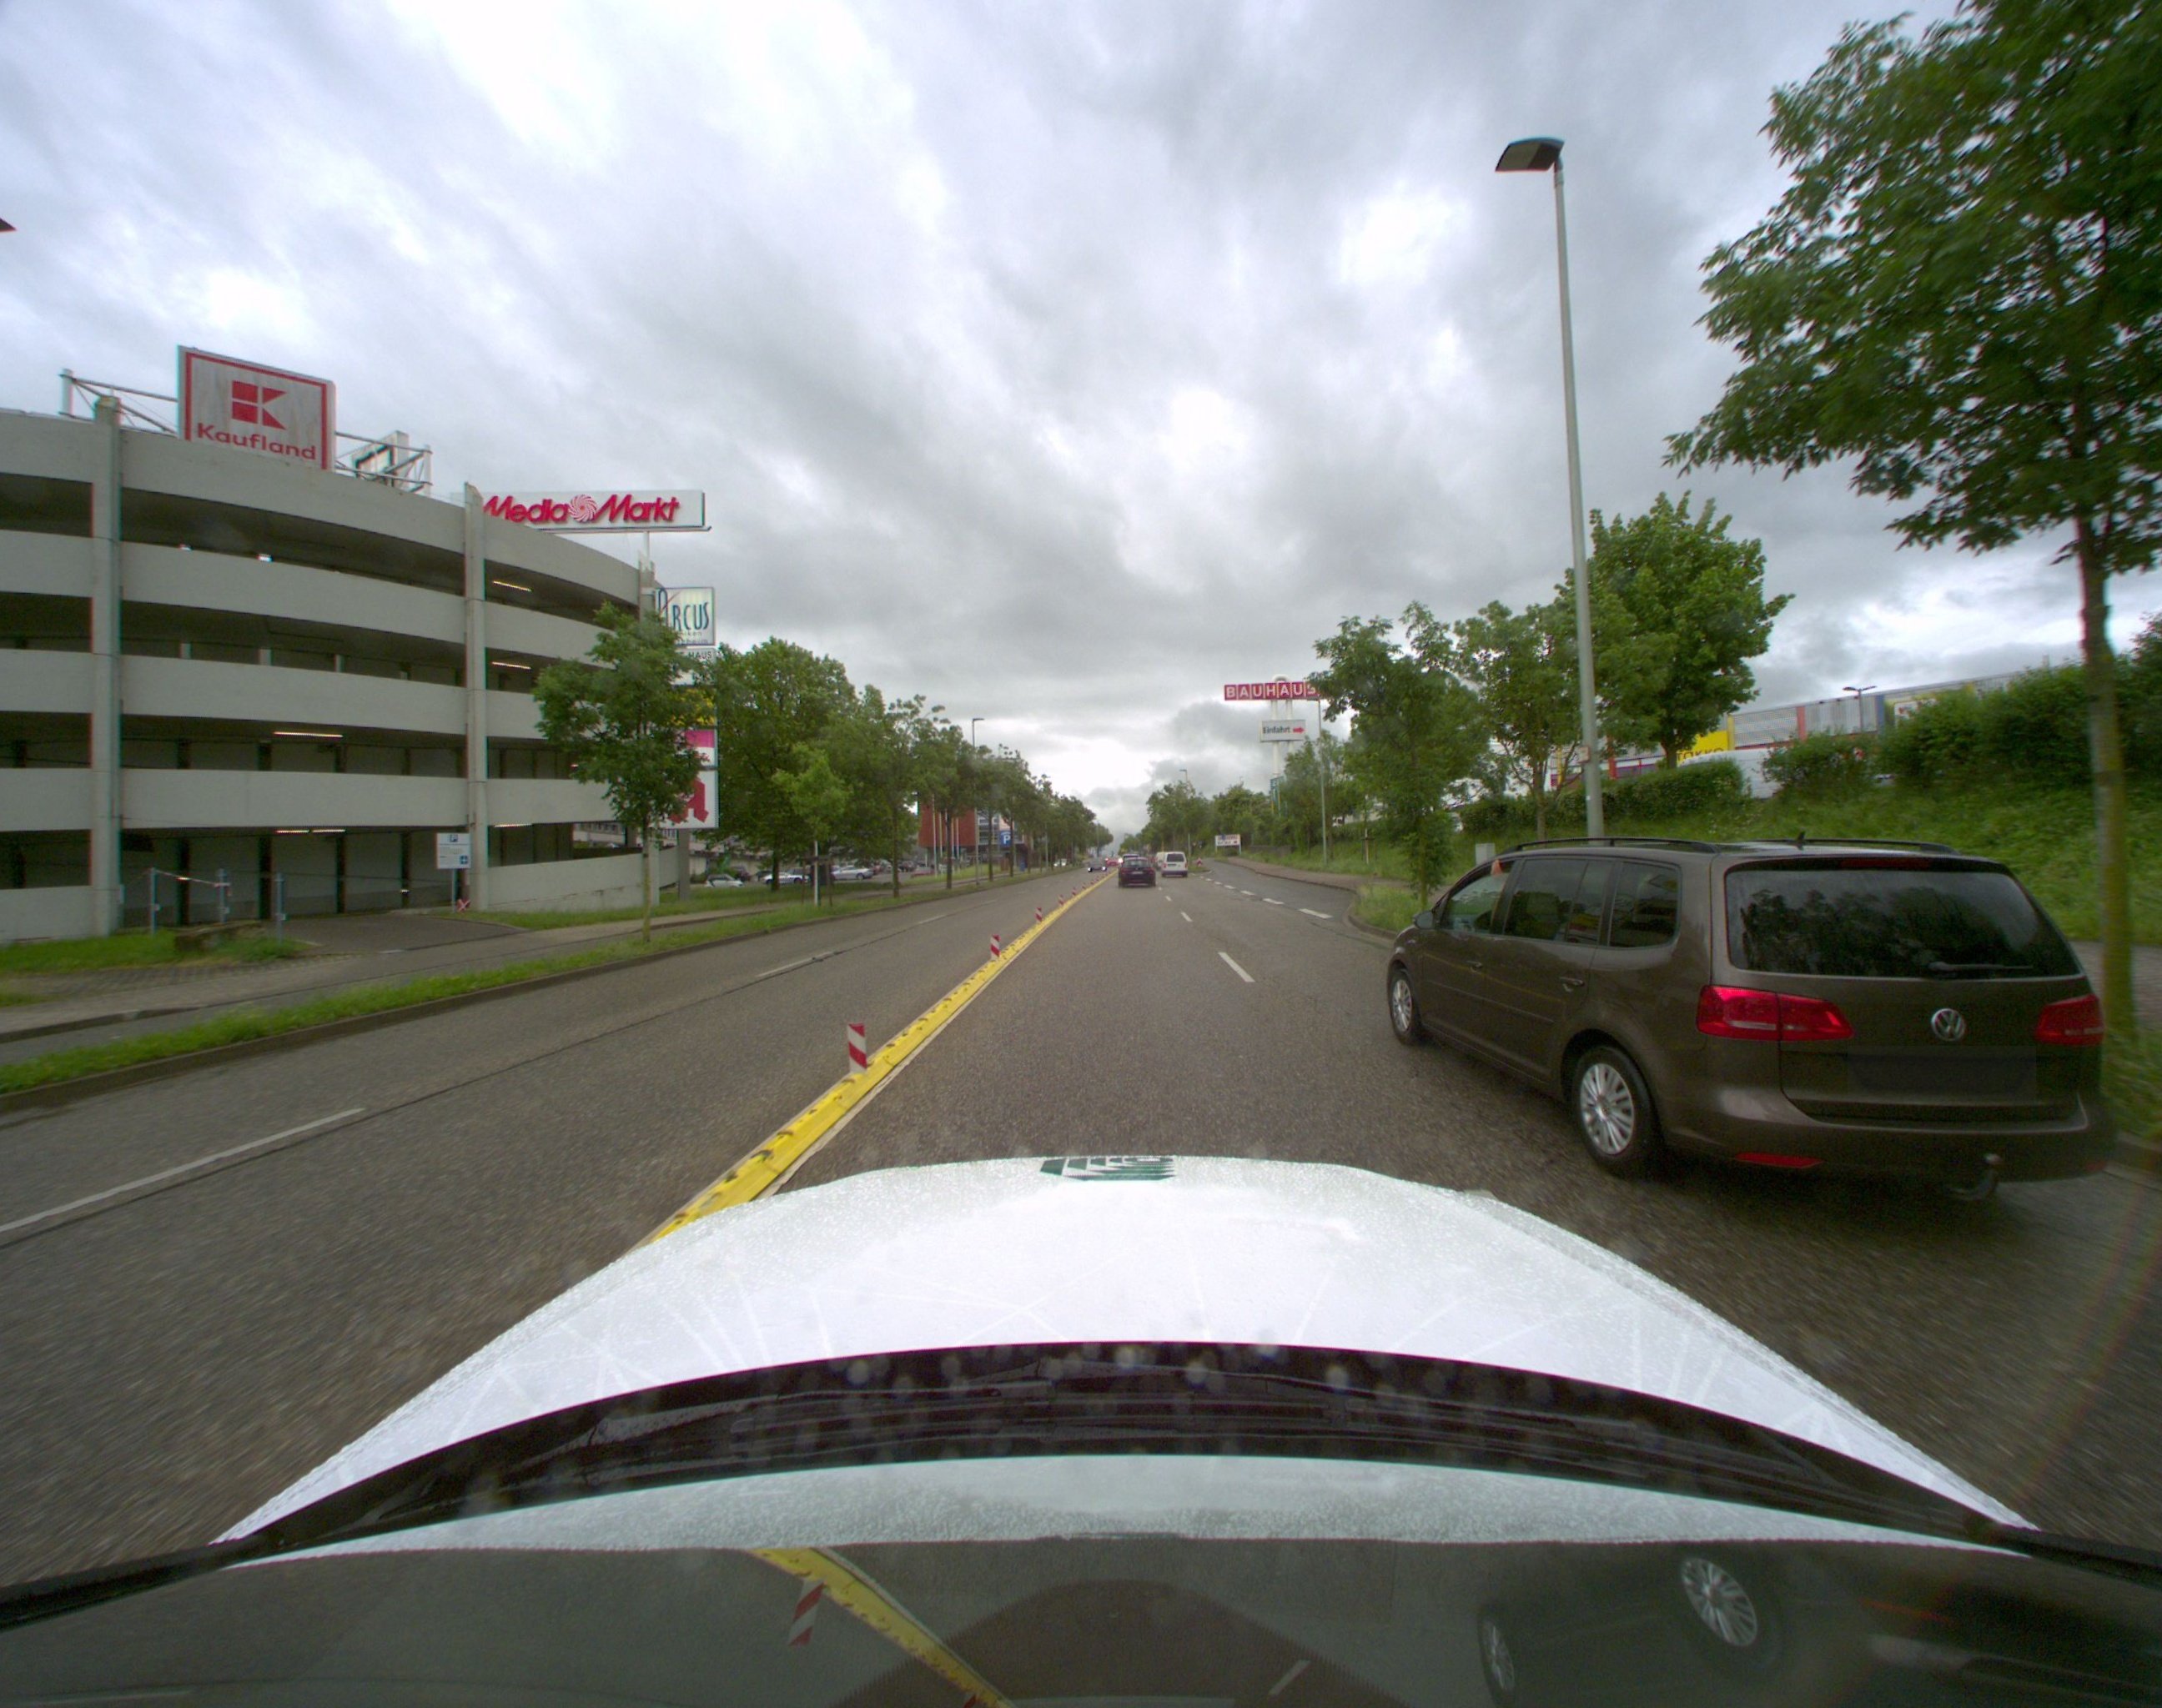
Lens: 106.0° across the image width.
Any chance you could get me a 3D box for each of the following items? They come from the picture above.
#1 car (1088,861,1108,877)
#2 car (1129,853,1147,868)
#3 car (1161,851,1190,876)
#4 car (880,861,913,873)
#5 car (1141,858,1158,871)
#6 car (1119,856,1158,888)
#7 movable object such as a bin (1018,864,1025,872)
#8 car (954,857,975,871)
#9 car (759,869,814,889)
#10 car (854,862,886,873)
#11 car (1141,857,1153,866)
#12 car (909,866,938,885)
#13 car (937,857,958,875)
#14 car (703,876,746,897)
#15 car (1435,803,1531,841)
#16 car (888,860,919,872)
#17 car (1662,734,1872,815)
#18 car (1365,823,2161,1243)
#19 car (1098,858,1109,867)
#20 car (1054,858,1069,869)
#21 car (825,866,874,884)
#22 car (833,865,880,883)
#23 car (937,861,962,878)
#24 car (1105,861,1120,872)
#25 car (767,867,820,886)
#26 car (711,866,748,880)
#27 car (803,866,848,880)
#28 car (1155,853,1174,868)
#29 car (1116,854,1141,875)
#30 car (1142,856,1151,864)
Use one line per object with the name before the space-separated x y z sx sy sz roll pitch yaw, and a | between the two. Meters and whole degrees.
car | 1.803 1.529 85.398 1.819 1.466 4.620 -2 0 4
car | 6.050 0.686 87.010 1.787 1.510 4.003 0 -1 3
car | 6.692 0.647 58.198 1.819 1.759 4.003 0 0 3
car | -25.374 1.809 112.025 4.101 1.510 1.816 -1 1 -5
car | 8.022 1.220 95.970 1.788 1.510 4.000 0 -1 1
car | 2.927 0.856 41.206 1.819 1.468 4.005 -2 0 4
movable object such as a bin | -8.277 1.991 113.409 0.815 1.079 1.087 3 0 4
car | -16.339 1.338 114.598 2.130 1.773 4.610 -1 1 2
car | -28.589 2.392 79.184 4.596 1.745 1.962 -1 1 -8
car | -30.112 1.942 116.503 4.101 1.510 1.816 -1 1 -5
car | 10.999 1.207 135.646 1.788 1.510 4.000 0 -1 1
car | -15.354 2.061 79.503 1.927 1.608 4.709 -1 1 -1
car | -16.264 1.443 99.686 2.110 2.096 5.113 -1 1 -5
car | -28.276 2.557 64.679 2.693 1.365 1.607 -4 1 -7
car | 22.341 -1.781 45.339 4.336 1.629 1.926 -5 -1 -2
car | -25.350 1.720 116.382 4.183 1.510 1.816 -1 1 -5
car | 23.877 -2.739 28.482 5.597 2.142 2.119 -5 -1 -4
car | 3.352 0.715 5.218 1.679 1.581 4.219 0 -1 1
car | 4.411 1.701 159.391 1.779 1.614 4.442 -4 -1 4
car | -3.129 1.487 128.895 1.859 1.553 4.579 -4 0 3
car | -23.976 2.158 84.541 4.591 1.745 1.964 -1 1 -5
car | -24.023 2.089 87.293 4.491 1.745 1.897 -1 1 -5
car | -15.157 1.726 93.944 2.032 1.762 4.946 -1 1 1
car | 4.436 1.764 114.612 1.753 1.425 4.186 -3 0 6
car | -28.973 2.290 82.151 4.596 1.745 2.128 -1 1 -8
car | -46.464 2.482 107.691 3.978 1.732 1.798 -1 1 -4
car | -29.213 2.177 93.275 4.602 1.510 2.022 -1 1 -5
car | 8.253 0.663 81.030 1.786 1.510 4.004 0 -1 4
car | 3.545 0.792 60.814 1.787 1.510 4.003 0 -1 3
car | 14.013 1.299 173.510 1.787 1.510 4.002 0 -1 2
